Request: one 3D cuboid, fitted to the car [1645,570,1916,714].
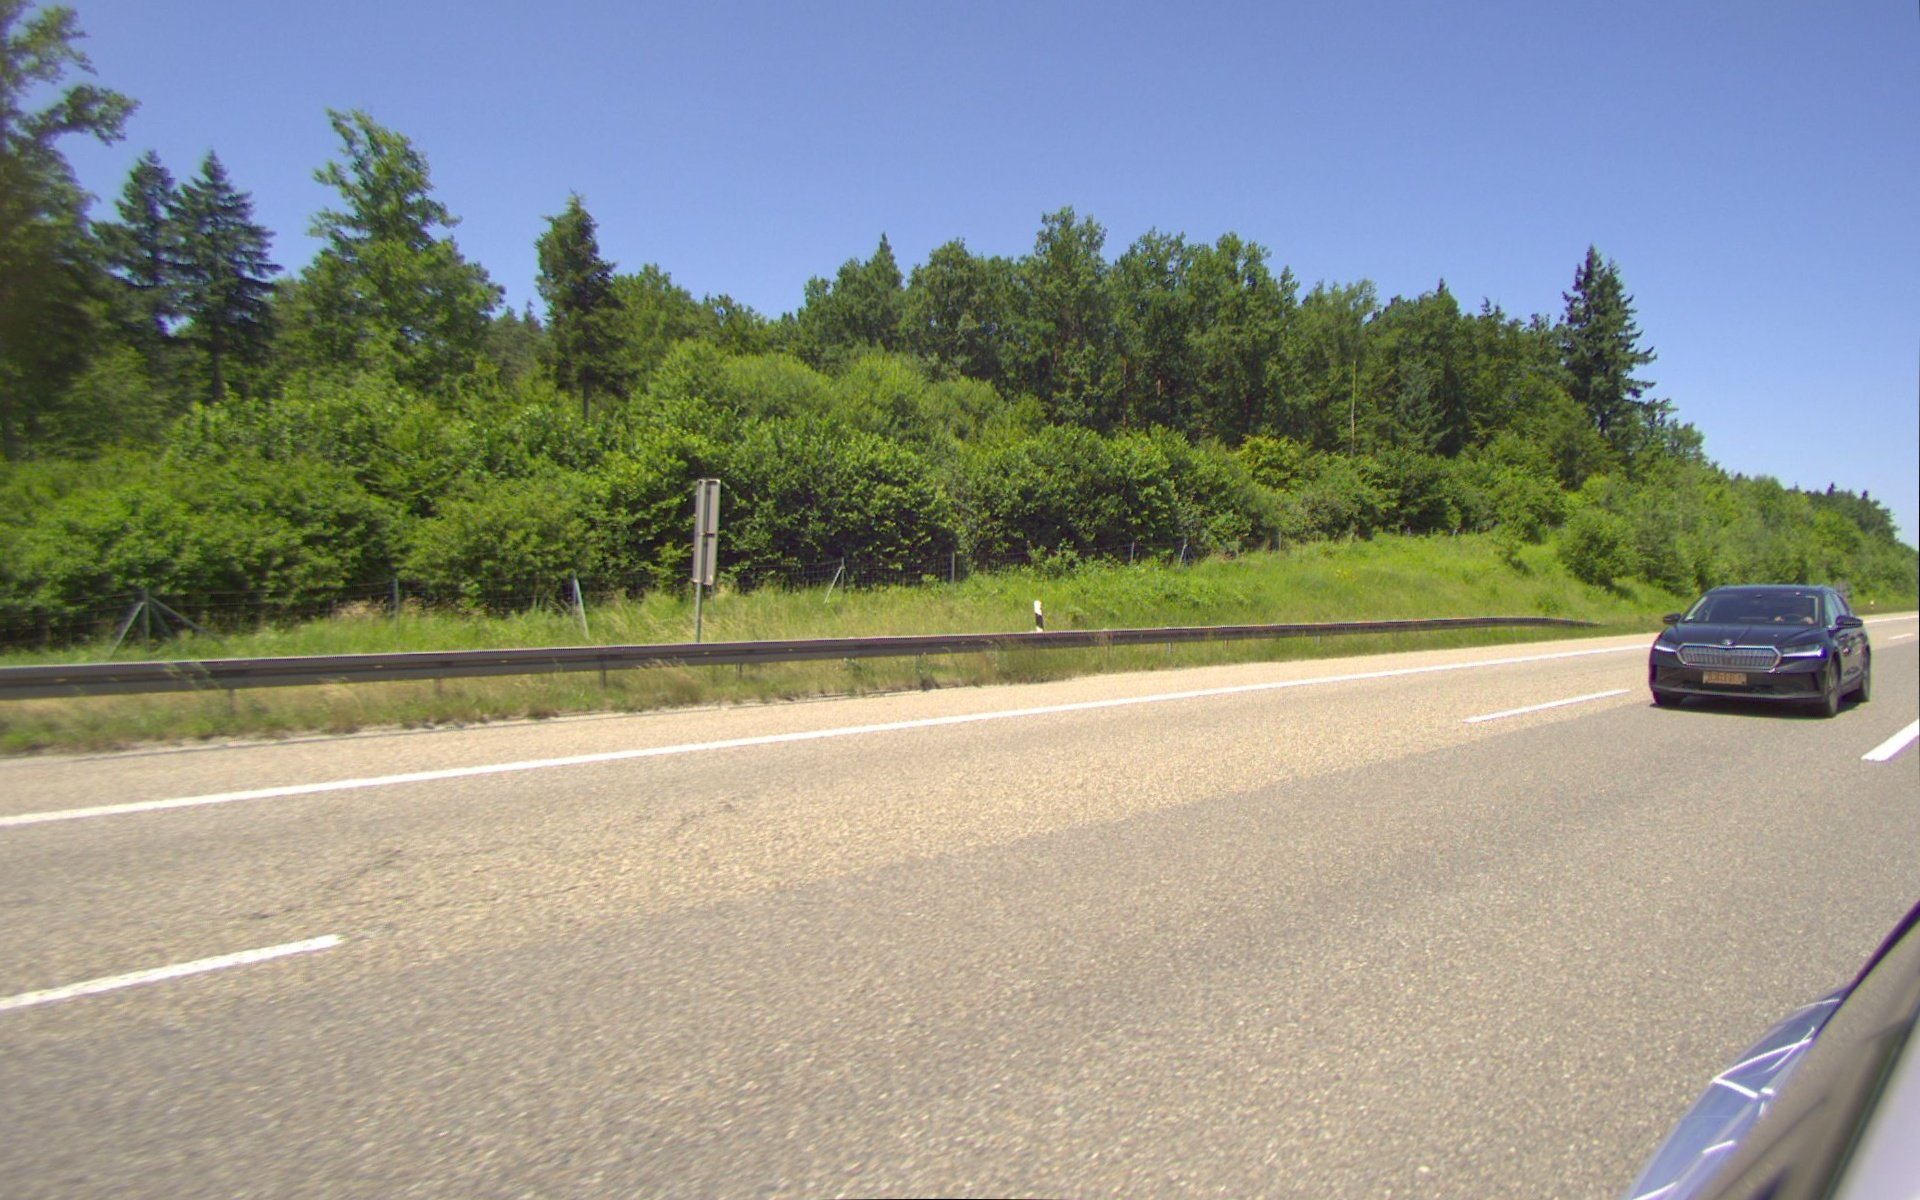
[{"bbox_3d":[11.208,0.471,13.723,4.377,1.639,1.989,0,0,-39],"label":"car"}]
